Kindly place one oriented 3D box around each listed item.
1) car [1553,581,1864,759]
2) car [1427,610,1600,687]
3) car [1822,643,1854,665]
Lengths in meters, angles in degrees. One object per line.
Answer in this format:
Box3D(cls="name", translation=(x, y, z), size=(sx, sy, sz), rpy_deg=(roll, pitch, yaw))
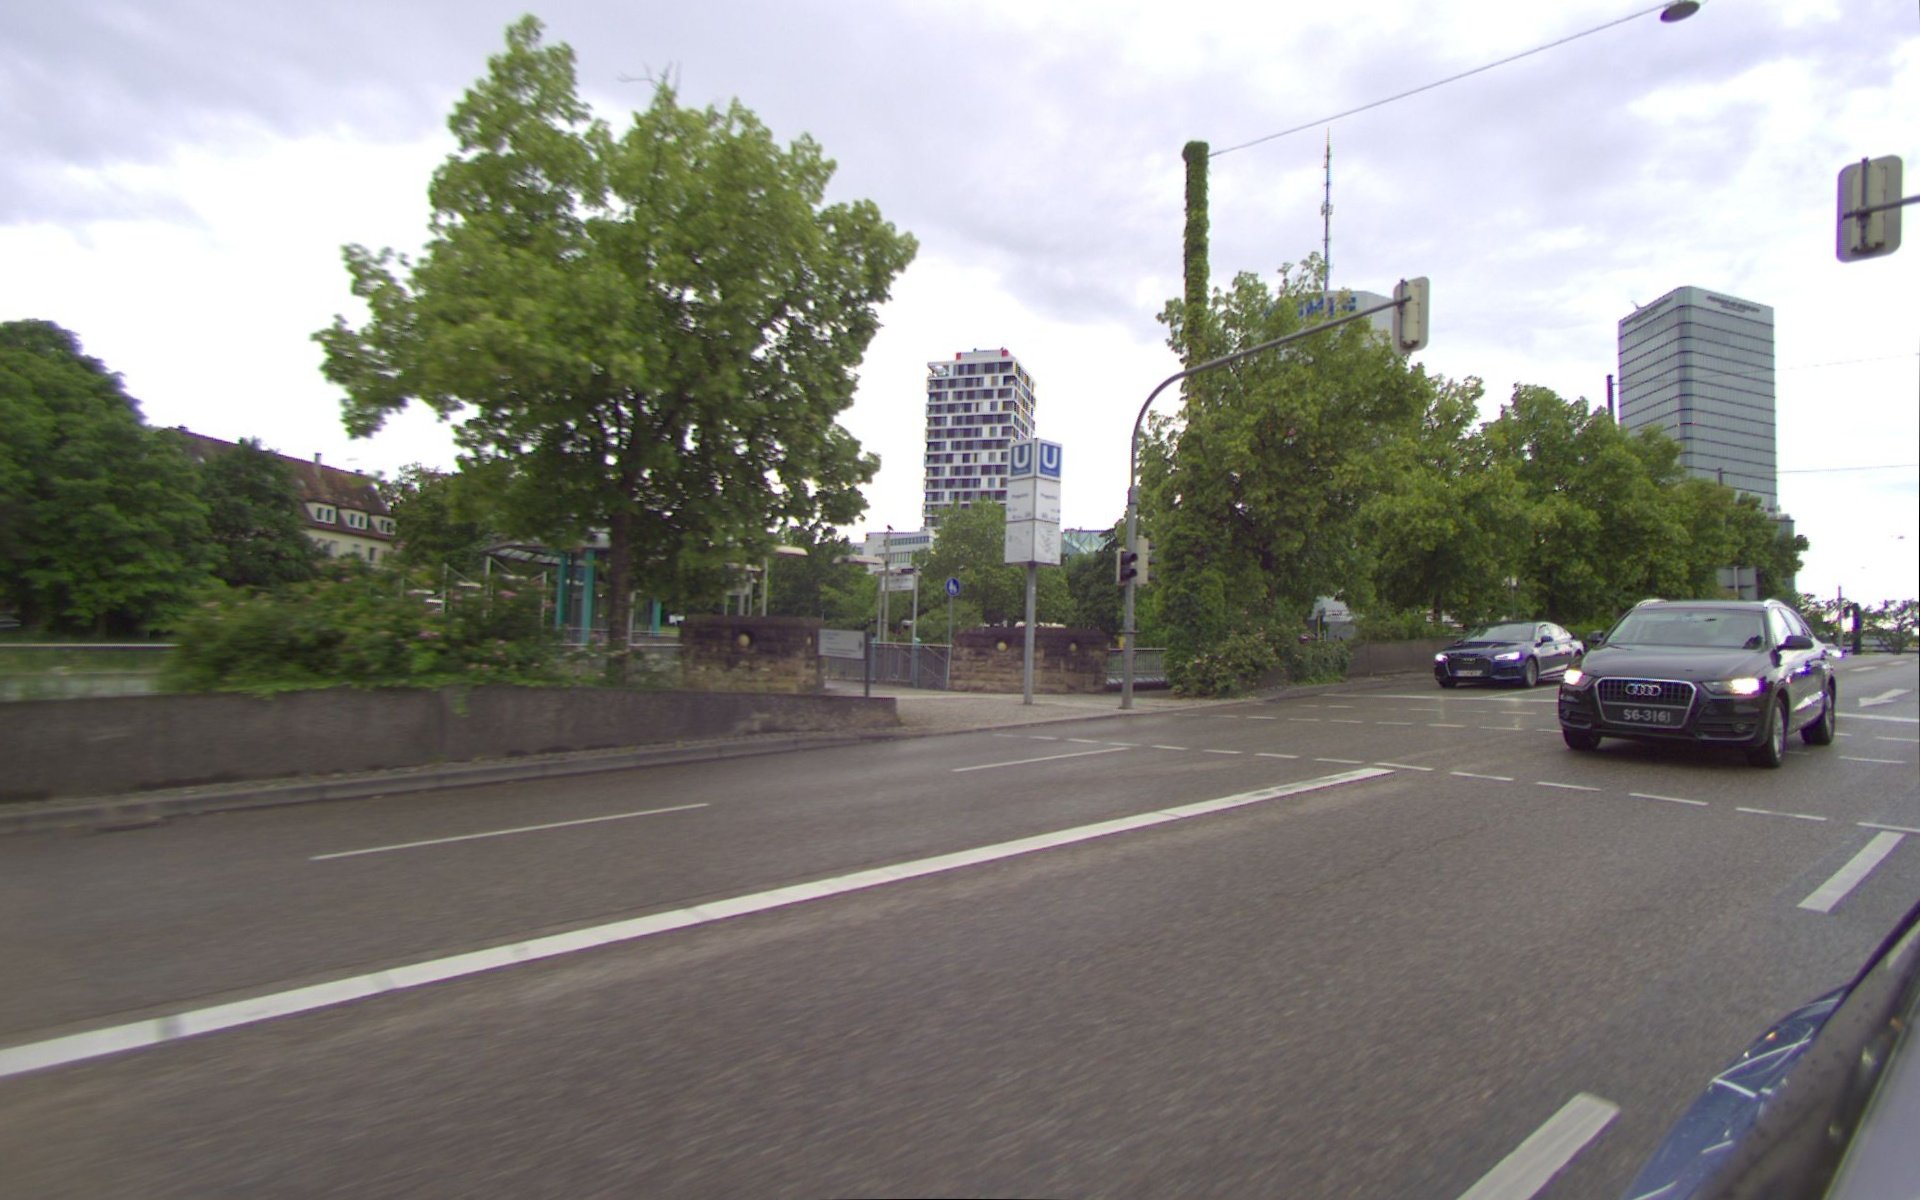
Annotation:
Box3D(cls="car", translation=(8.087, 0.659, 10.817), size=(4.052, 1.554, 1.729), rpy_deg=(1, -2, -40))
Box3D(cls="car", translation=(11.959, 0.968, 21.766), size=(4.272, 1.444, 1.874), rpy_deg=(0, -1, -41))
Box3D(cls="car", translation=(64.174, 3.974, 74.003), size=(1.628, 1.495, 3.622), rpy_deg=(-1, -4, 40))
